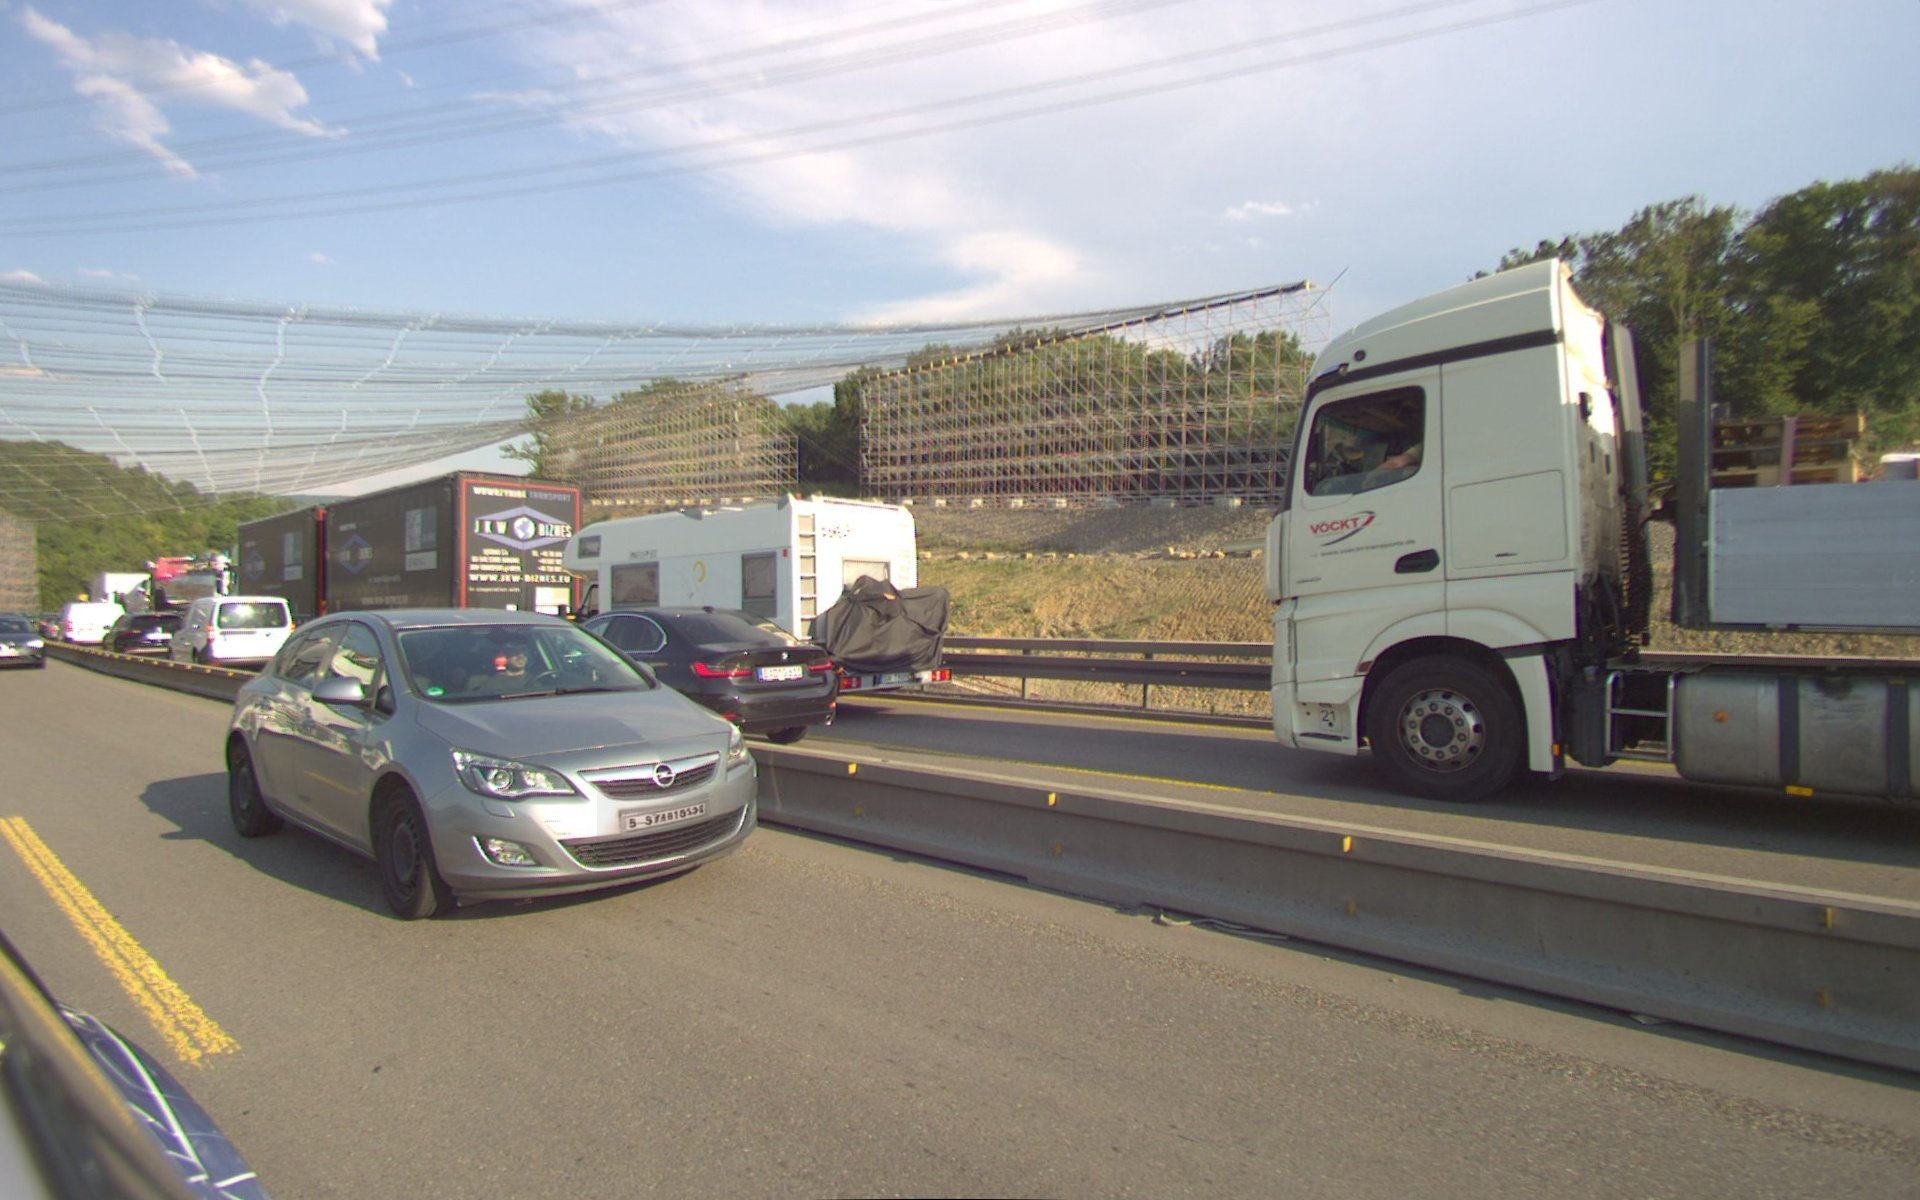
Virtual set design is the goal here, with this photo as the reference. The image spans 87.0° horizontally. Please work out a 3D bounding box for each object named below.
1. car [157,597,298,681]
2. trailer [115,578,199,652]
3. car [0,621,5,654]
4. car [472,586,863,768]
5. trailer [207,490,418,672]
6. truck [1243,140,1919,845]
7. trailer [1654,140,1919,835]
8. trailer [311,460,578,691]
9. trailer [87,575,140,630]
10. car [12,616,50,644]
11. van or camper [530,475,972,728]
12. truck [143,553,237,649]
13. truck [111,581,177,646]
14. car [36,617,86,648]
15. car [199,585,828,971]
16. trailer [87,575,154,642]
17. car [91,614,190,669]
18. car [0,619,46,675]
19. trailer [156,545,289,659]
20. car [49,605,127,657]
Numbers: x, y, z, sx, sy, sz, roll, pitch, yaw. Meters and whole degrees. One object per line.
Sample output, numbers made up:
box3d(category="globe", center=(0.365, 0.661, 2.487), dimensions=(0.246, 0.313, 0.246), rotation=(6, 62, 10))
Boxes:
box3d(category="car", center=(-16.638, 0.813, 22.900), dimensions=(4.453, 1.708, 1.738), rotation=(-1, -1, 42))
box3d(category="trailer", center=(-40.903, 0.711, 51.375), dimensions=(2.280, 3.387, 12.063), rotation=(0, -1, -44))
box3d(category="car", center=(-43.388, 1.649, 44.672), dimensions=(3.824, 1.394, 1.653), rotation=(-1, -1, 44))
box3d(category="car", center=(-3.245, 0.664, 10.675), dimensions=(4.583, 1.523, 1.775), rotation=(-1, 0, 41))
box3d(category="trailer", center=(-18.644, -0.408, 28.709), dimensions=(10.509, 4.361, 2.449), rotation=(-1, -1, 42))
box3d(category="truck", center=(5.527, -0.573, 6.813), dimensions=(6.514, 3.782, 2.574), rotation=(-1, -1, 41))
box3d(category="trailer", center=(10.408, -0.650, 2.673), dimensions=(13.967, 3.753, 2.494), rotation=(-1, -1, 40))
box3d(category="trailer", center=(-11.625, -0.418, 22.297), dimensions=(8.542, 4.220, 2.417), rotation=(-1, -1, 42))
box3d(category="trailer", center=(-67.263, 0.239, 80.273), dimensions=(2.638, 4.046, 13.348), rotation=(0, -1, -42))
box3d(category="car", center=(-54.060, 1.728, 58.893), dimensions=(1.489, 1.540, 3.589), rotation=(0, -1, -45))
box3d(category="van or camper", center=(-3.472, 0.044, 15.096), dimensions=(7.615, 2.913, 2.383), rotation=(-1, -1, 41))
box3d(category="truck", center=(-32.906, 0.071, 43.181), dimensions=(5.619, 3.813, 2.405), rotation=(-1, -1, 44))
box3d(category="truck", center=(-45.153, 0.741, 55.927), dimensions=(2.385, 3.395, 5.622), rotation=(0, -1, -44))
box3d(category="car", center=(-46.111, 1.636, 51.859), dimensions=(4.659, 1.437, 1.609), rotation=(-1, -1, 44))
box3d(category="car", center=(-2.884, 0.702, 5.997), dimensions=(4.350, 1.484, 1.737), rotation=(-1, 0, 41))
box3d(category="trailer", center=(-54.636, 0.550, 65.678), dimensions=(2.399, 3.993, 14.111), rotation=(0, -1, -44))
box3d(category="car", center=(-24.318, 1.172, 29.977), dimensions=(4.603, 1.490, 1.662), rotation=(-1, -1, 43))
box3d(category="car", center=(-25.835, 1.223, 27.117), dimensions=(3.823, 1.394, 1.740), rotation=(-1, -1, 44))
box3d(category="trailer", center=(-28.694, 0.107, 39.068), dimensions=(12.058, 3.819, 2.281), rotation=(-1, -1, 45))
box3d(category="car", center=(-34.484, 1.160, 39.984), dimensions=(4.836, 1.940, 1.797), rotation=(-1, -1, 43))
